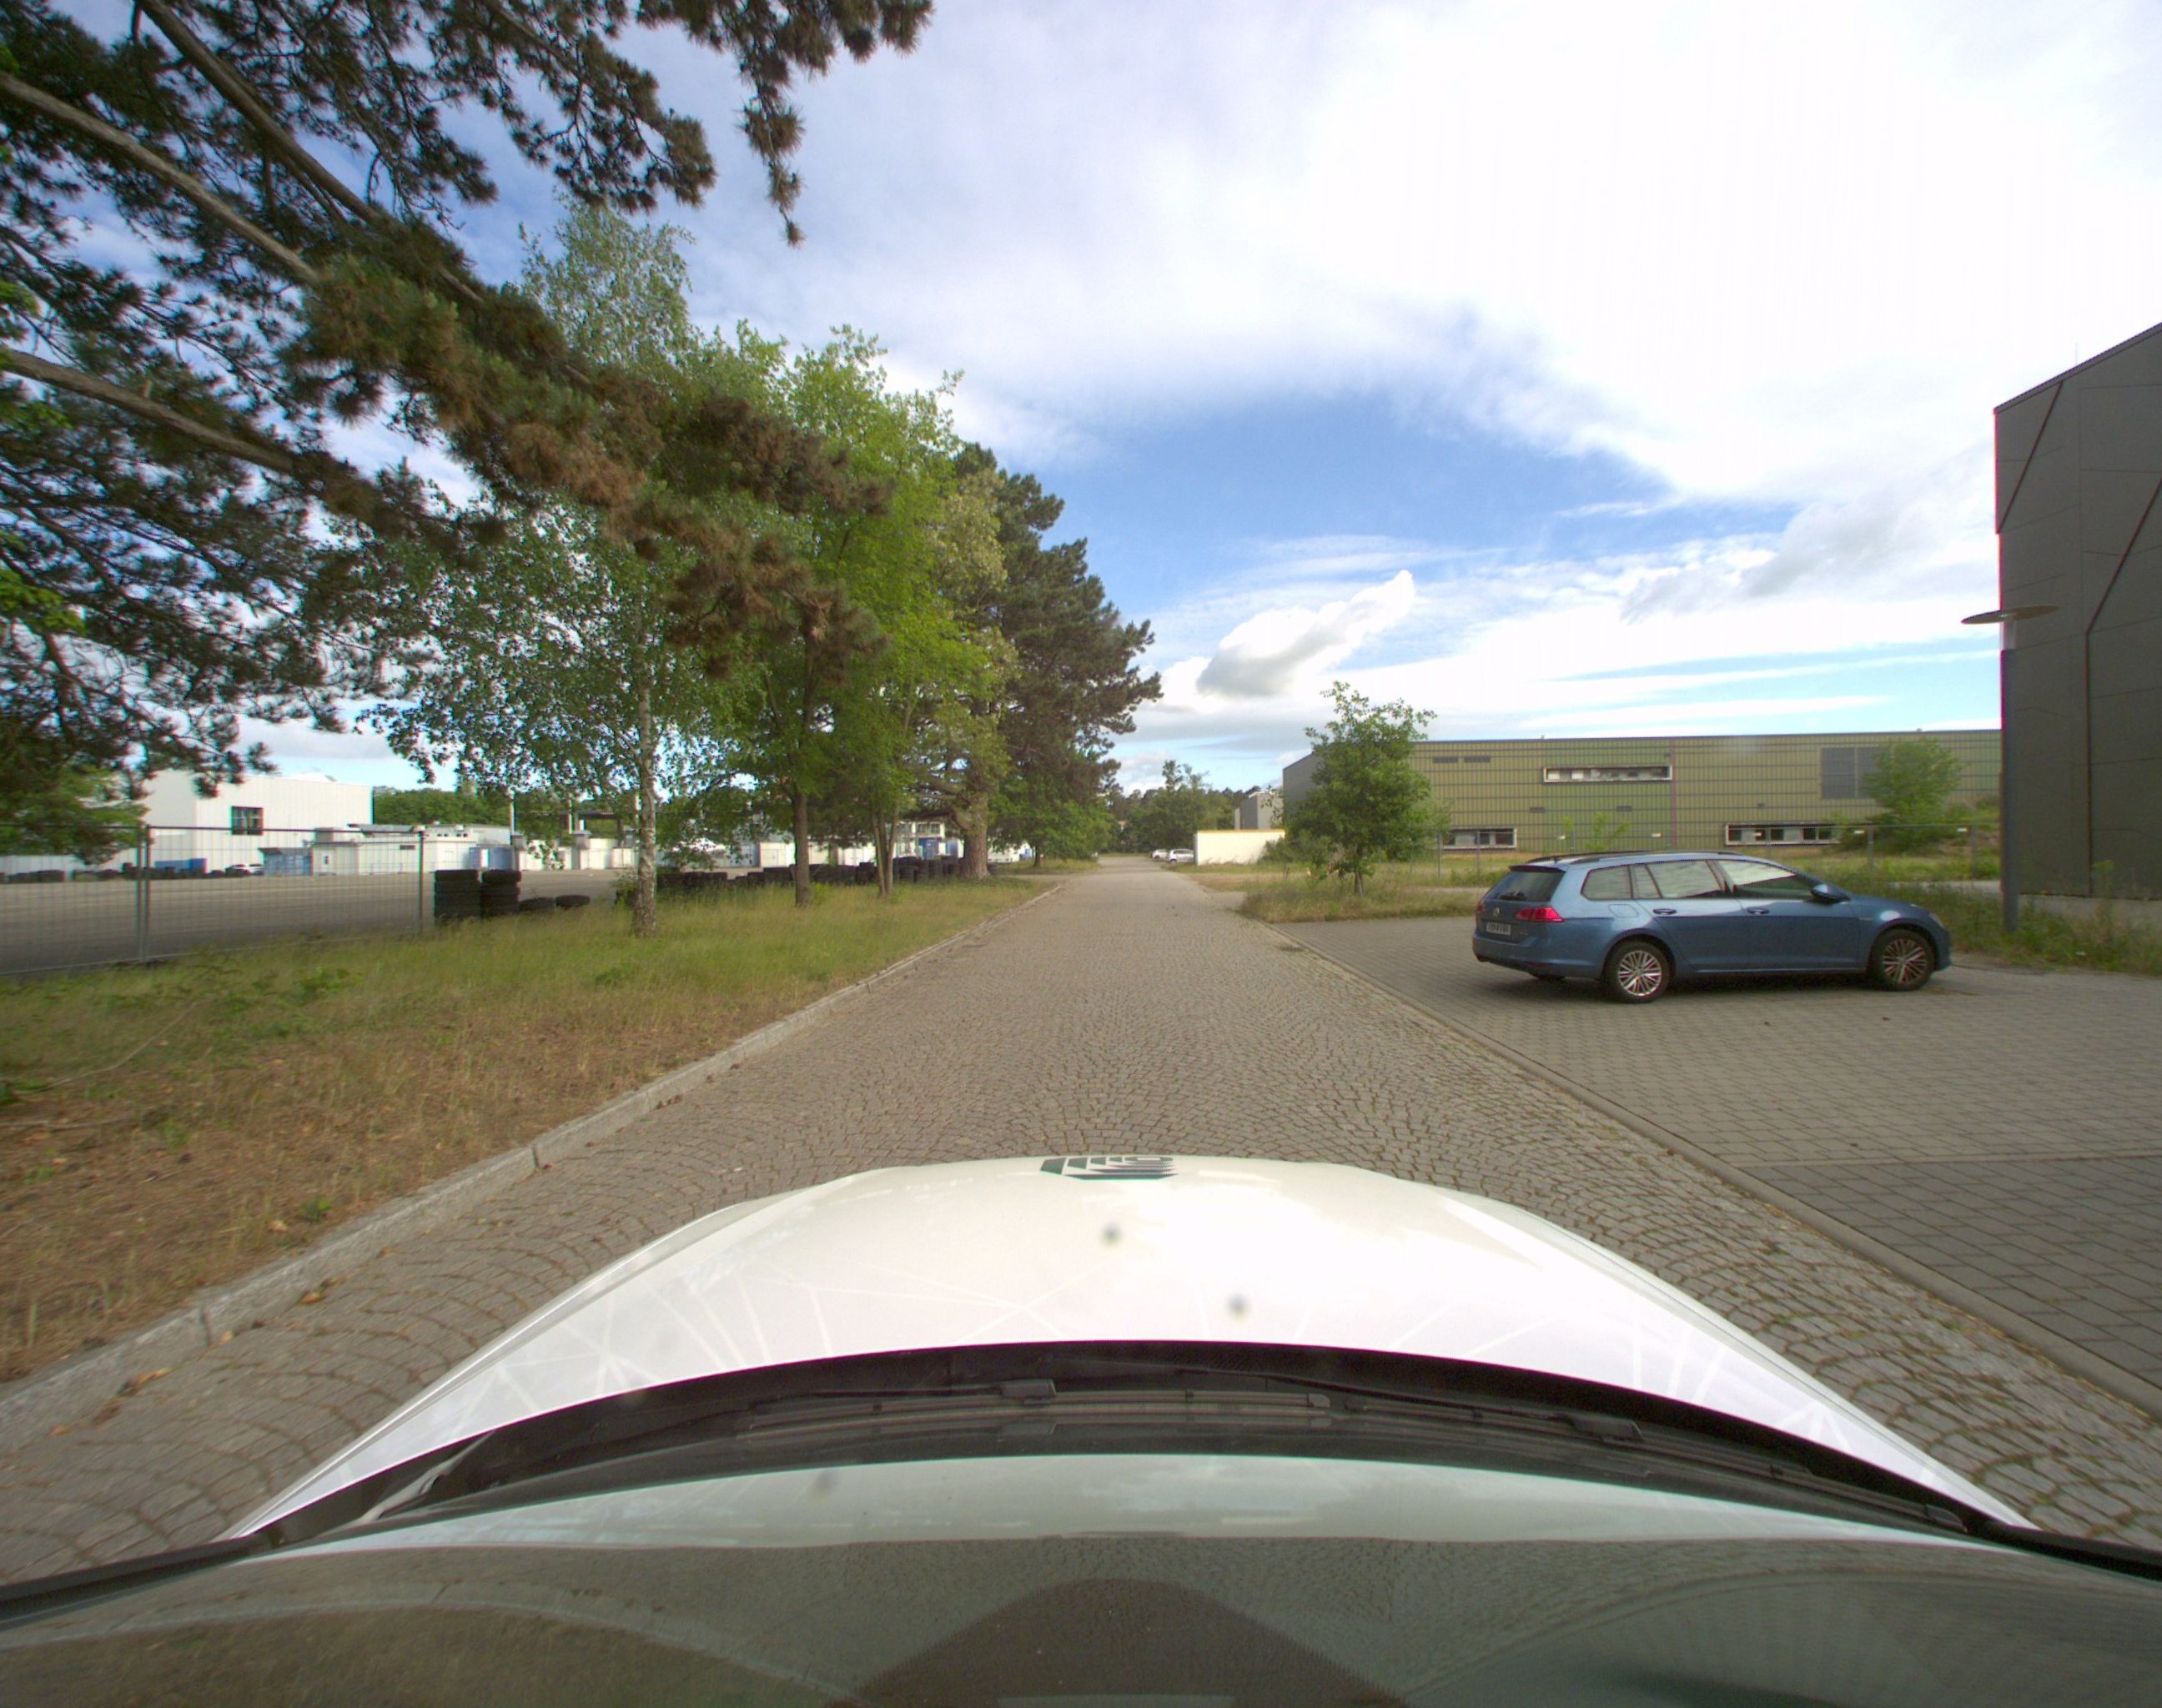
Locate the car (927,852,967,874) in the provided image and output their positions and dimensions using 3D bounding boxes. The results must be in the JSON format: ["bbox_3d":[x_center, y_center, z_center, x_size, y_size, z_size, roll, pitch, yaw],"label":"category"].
[{"bbox_3d":[-9.591,0.628,58.477,1.756,1.453,3.497,-1,0,9],"label":"car"}]

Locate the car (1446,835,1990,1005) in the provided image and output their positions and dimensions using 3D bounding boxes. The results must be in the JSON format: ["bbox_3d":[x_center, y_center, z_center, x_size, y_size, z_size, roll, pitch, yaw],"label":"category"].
[{"bbox_3d":[6.660,0.639,8.892,4.508,1.443,1.823,-3,0,-1],"label":"car"}]

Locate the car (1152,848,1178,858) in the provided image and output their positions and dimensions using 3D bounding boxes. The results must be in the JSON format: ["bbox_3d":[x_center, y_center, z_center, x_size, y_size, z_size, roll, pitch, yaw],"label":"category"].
[{"bbox_3d":[13.214,-0.107,128.506,4.007,1.502,1.550,-1,0,4],"label":"car"}]

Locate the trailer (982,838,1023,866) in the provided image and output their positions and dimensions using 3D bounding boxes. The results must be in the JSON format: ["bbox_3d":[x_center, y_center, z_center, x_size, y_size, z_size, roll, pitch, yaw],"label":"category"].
[{"bbox_3d":[-9.139,-0.224,95.977,3.143,3.067,8.797,-1,0,5],"label":"trailer"}]

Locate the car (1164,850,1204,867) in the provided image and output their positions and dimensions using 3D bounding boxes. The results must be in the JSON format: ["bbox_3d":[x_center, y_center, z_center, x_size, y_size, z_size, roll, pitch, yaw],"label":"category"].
[{"bbox_3d":[10.391,0.474,82.397,3.837,1.654,1.686,-1,0,0],"label":"car"}]

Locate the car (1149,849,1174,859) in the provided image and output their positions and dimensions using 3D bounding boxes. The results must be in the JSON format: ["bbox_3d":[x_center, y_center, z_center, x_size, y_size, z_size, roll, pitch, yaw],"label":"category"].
[{"bbox_3d":[13.209,-0.008,134.072,3.974,1.601,1.729,-1,0,0],"label":"car"}]

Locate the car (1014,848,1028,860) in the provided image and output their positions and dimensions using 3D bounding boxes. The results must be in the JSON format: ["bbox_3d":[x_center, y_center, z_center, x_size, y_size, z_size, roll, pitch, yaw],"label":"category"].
[{"bbox_3d":[-10.108,0.005,136.822,1.918,2.047,4.601,-1,0,1],"label":"car"}]

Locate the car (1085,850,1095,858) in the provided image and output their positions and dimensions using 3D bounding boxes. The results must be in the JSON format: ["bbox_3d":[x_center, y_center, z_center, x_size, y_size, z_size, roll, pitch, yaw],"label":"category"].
[{"bbox_3d":[1.613,0.024,148.123,1.729,1.469,4.046,-1,0,1],"label":"car"}]
